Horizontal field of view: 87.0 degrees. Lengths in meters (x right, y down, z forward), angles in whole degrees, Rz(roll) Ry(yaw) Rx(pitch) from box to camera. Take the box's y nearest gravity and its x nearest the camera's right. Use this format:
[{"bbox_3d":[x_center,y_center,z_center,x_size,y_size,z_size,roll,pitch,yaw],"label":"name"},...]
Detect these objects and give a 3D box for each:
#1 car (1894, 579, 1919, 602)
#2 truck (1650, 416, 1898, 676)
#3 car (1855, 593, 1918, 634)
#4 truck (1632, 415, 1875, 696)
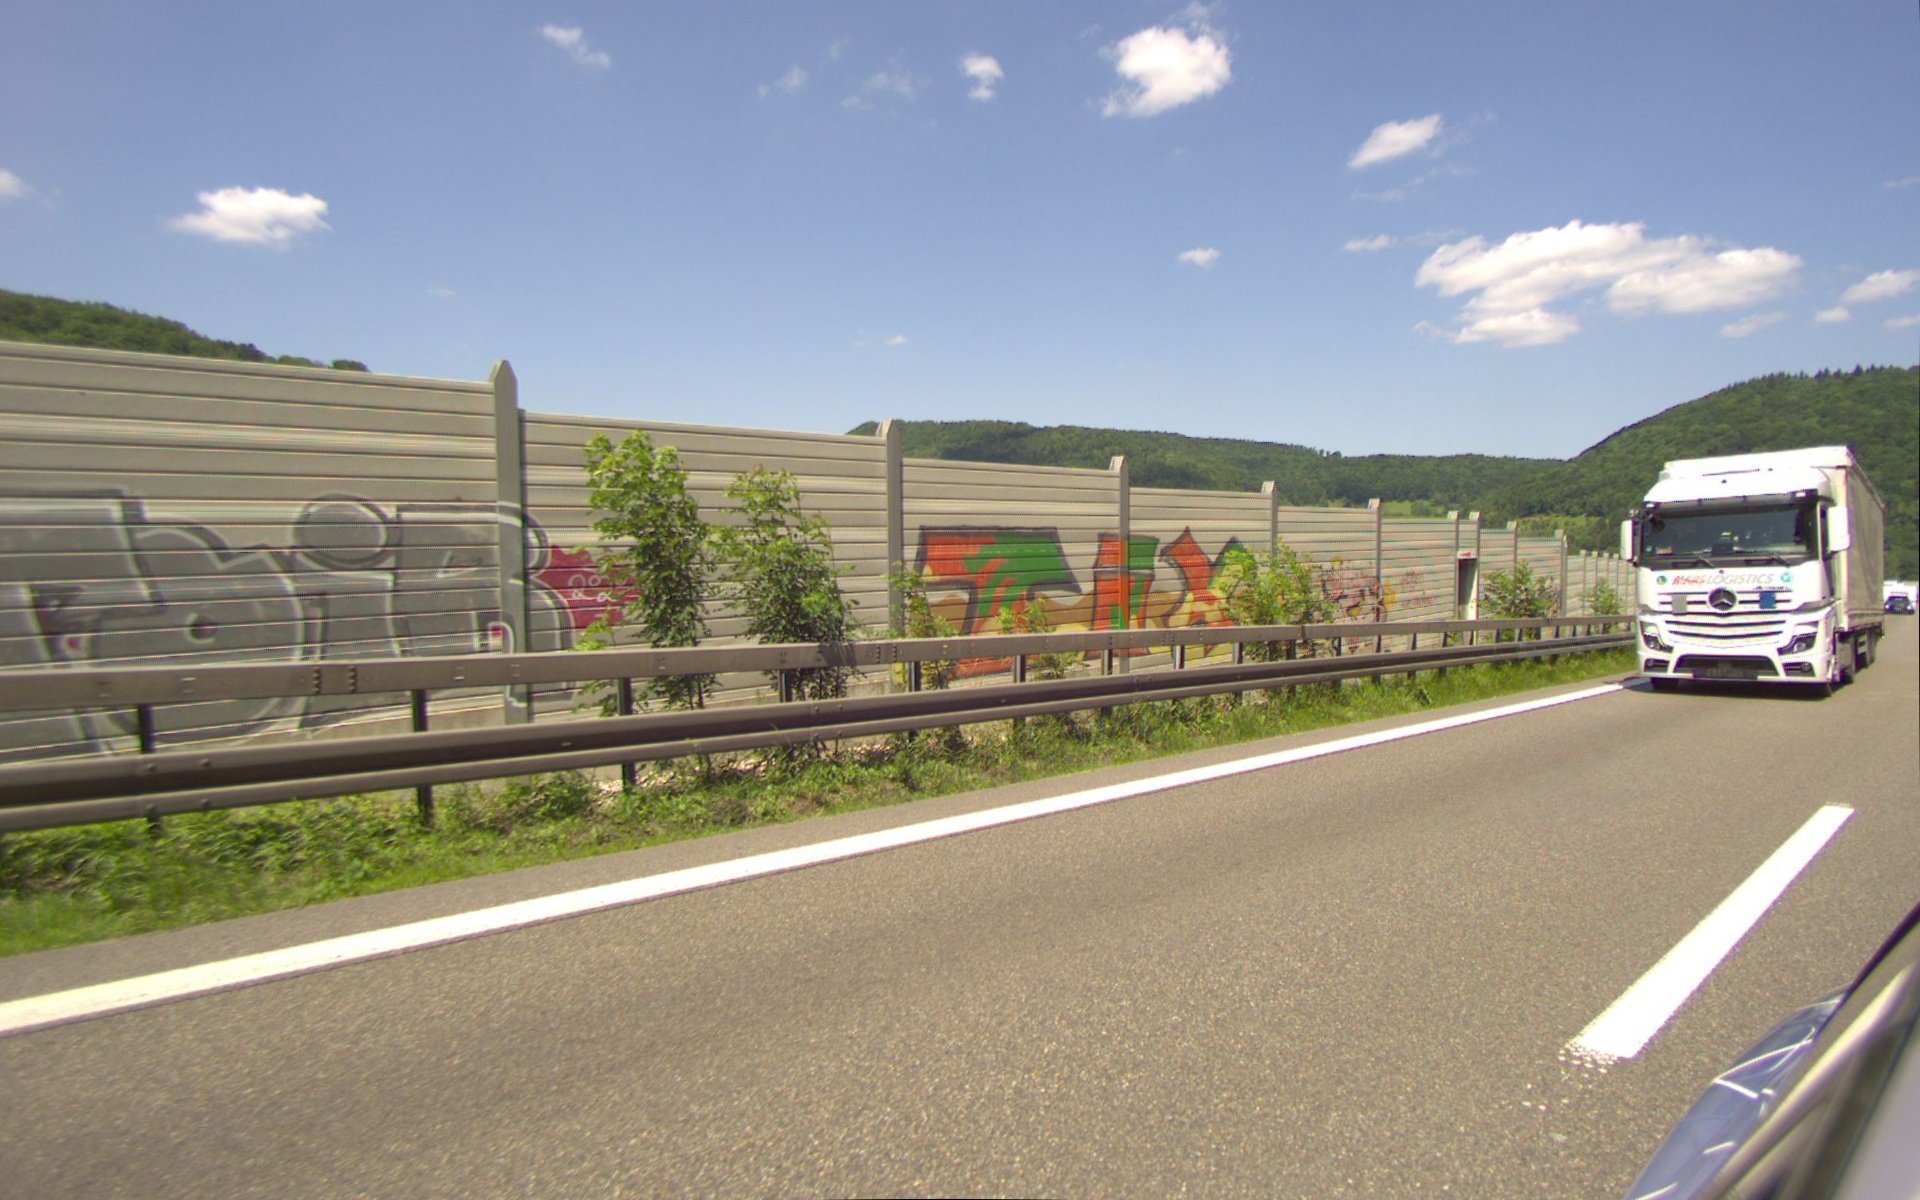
[{"bbox_3d":[85.885,-0.867,91.408,1.995,1.927,3.935,5,3,45],"label":"car"},{"bbox_3d":[17.724,-0.905,21.555,2.855,4.200,11.851,0,0,45],"label":"truck"},{"bbox_3d":[36.308,0.489,39.628,1.659,1.430,3.420,4,4,44],"label":"car"},{"bbox_3d":[14.384,-0.722,18.118,2.758,4.089,6.716,0,1,44],"label":"truck"}]
